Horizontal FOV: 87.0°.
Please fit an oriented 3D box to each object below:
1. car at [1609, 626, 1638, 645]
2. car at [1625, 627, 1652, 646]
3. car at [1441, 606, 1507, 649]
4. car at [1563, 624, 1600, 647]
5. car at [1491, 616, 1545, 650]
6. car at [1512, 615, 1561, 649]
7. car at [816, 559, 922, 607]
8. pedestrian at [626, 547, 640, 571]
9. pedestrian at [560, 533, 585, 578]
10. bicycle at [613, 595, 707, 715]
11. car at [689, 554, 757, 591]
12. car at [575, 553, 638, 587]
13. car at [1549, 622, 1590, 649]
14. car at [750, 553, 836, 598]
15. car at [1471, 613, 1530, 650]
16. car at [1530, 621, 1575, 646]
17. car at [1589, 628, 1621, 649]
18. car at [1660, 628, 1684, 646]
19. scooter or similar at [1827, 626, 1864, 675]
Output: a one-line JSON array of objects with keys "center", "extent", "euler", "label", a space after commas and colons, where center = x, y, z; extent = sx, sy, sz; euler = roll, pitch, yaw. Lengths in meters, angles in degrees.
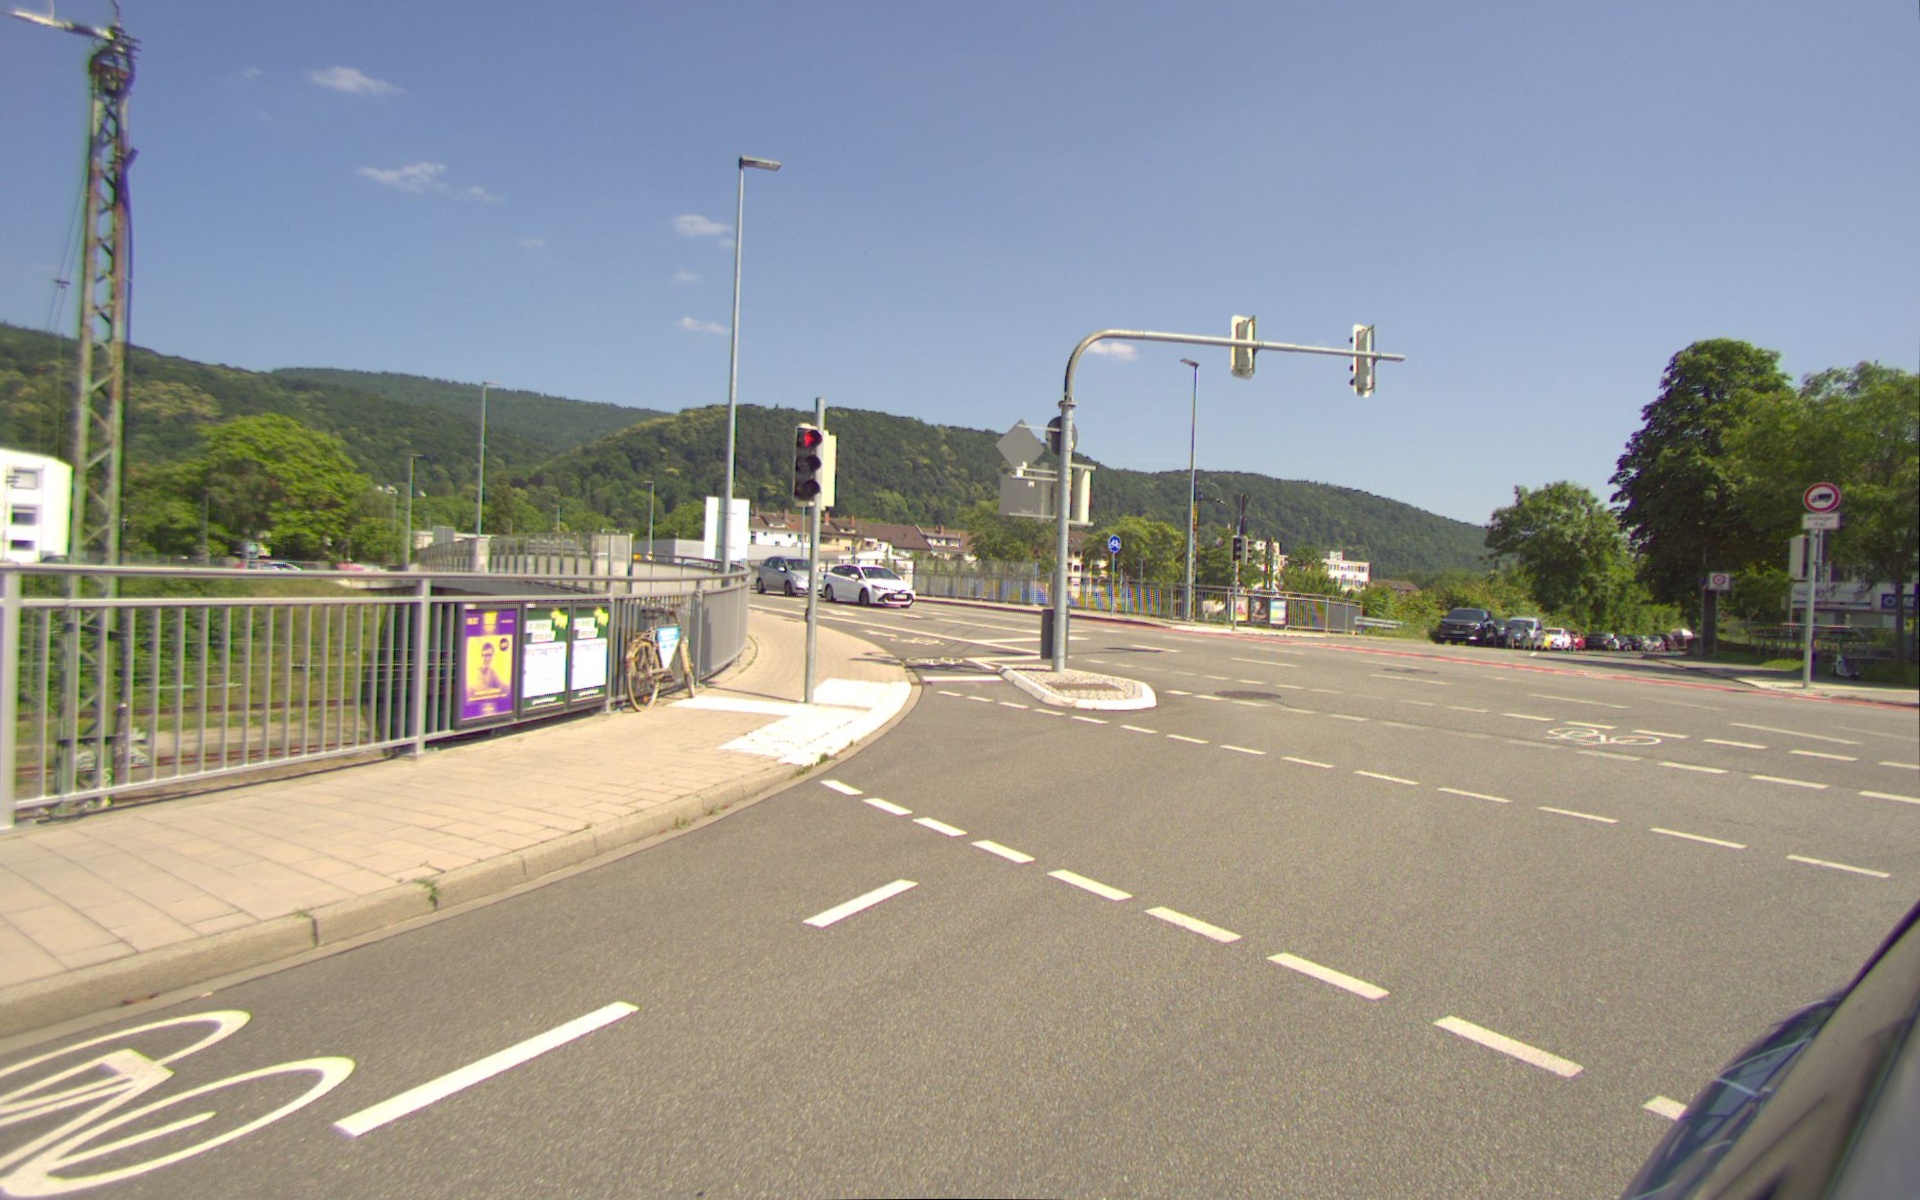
[{"center": [56.494, 3.009, 86.167], "extent": [1.664, 1.552, 3.944], "euler": [-2, -2, 38], "label": "car"}, {"center": [60.956, 3.275, 90.909], "extent": [1.666, 1.552, 3.943], "euler": [3, 1, 39], "label": "car"}, {"center": [21.906, 1.136, 43.086], "extent": [1.820, 1.647, 4.181], "euler": [3, 1, 36], "label": "car"}, {"center": [43.169, 2.439, 70.263], "extent": [1.666, 1.453, 3.943], "euler": [3, 1, 39], "label": "car"}, {"center": [28.171, 1.625, 51.007], "extent": [1.666, 1.552, 3.943], "euler": [3, 1, 39], "label": "car"}, {"center": [31.437, 1.709, 55.117], "extent": [1.666, 1.655, 3.943], "euler": [3, 1, 39], "label": "car"}, {"center": [-3.228, -0.617, 35.105], "extent": [1.703, 1.488, 4.412], "euler": [2, 1, -34], "label": "car"}, {"center": [-28.759, -3.600, 88.953], "extent": [0.841, 2.039, 1.156], "euler": [2, 1, -34], "label": "pedestrian"}, {"center": [-14.463, -1.653, 37.783], "extent": [0.633, 1.638, 0.921], "euler": [2, 1, -34], "label": "pedestrian"}, {"center": [-3.062, 0.518, 10.447], "extent": [0.293, 1.114, 1.617], "euler": [2, 1, 6], "label": "bicycle"}, {"center": [-11.594, -1.353, 49.338], "extent": [1.703, 1.646, 4.444], "euler": [2, 1, -34], "label": "car"}, {"center": [-19.438, -1.672, 55.486], "extent": [1.962, 1.740, 4.633], "euler": [2, 1, -36], "label": "car"}, {"center": [38.858, 2.242, 64.471], "extent": [1.666, 1.552, 3.943], "euler": [3, 1, 39], "label": "car"}, {"center": [-6.801, -1.015, 40.807], "extent": [1.703, 1.646, 4.444], "euler": [2, 1, -34], "label": "car"}, {"center": [25.155, 1.425, 47.078], "extent": [1.666, 1.552, 3.943], "euler": [3, 1, 39], "label": "car"}, {"center": [34.661, 1.942, 59.142], "extent": [1.666, 1.333, 3.943], "euler": [3, 1, 39], "label": "car"}, {"center": [49.909, 2.955, 78.280], "extent": [1.666, 1.453, 3.943], "euler": [3, 1, 39], "label": "car"}, {"center": [72.387, 3.724, 102.859], "extent": [1.664, 1.751, 3.944], "euler": [-2, -2, 38], "label": "car"}, {"center": [21.412, 1.206, 24.468], "extent": [1.426, 1.137, 0.427], "euler": [2, 1, -40], "label": "scooter or similar"}]
